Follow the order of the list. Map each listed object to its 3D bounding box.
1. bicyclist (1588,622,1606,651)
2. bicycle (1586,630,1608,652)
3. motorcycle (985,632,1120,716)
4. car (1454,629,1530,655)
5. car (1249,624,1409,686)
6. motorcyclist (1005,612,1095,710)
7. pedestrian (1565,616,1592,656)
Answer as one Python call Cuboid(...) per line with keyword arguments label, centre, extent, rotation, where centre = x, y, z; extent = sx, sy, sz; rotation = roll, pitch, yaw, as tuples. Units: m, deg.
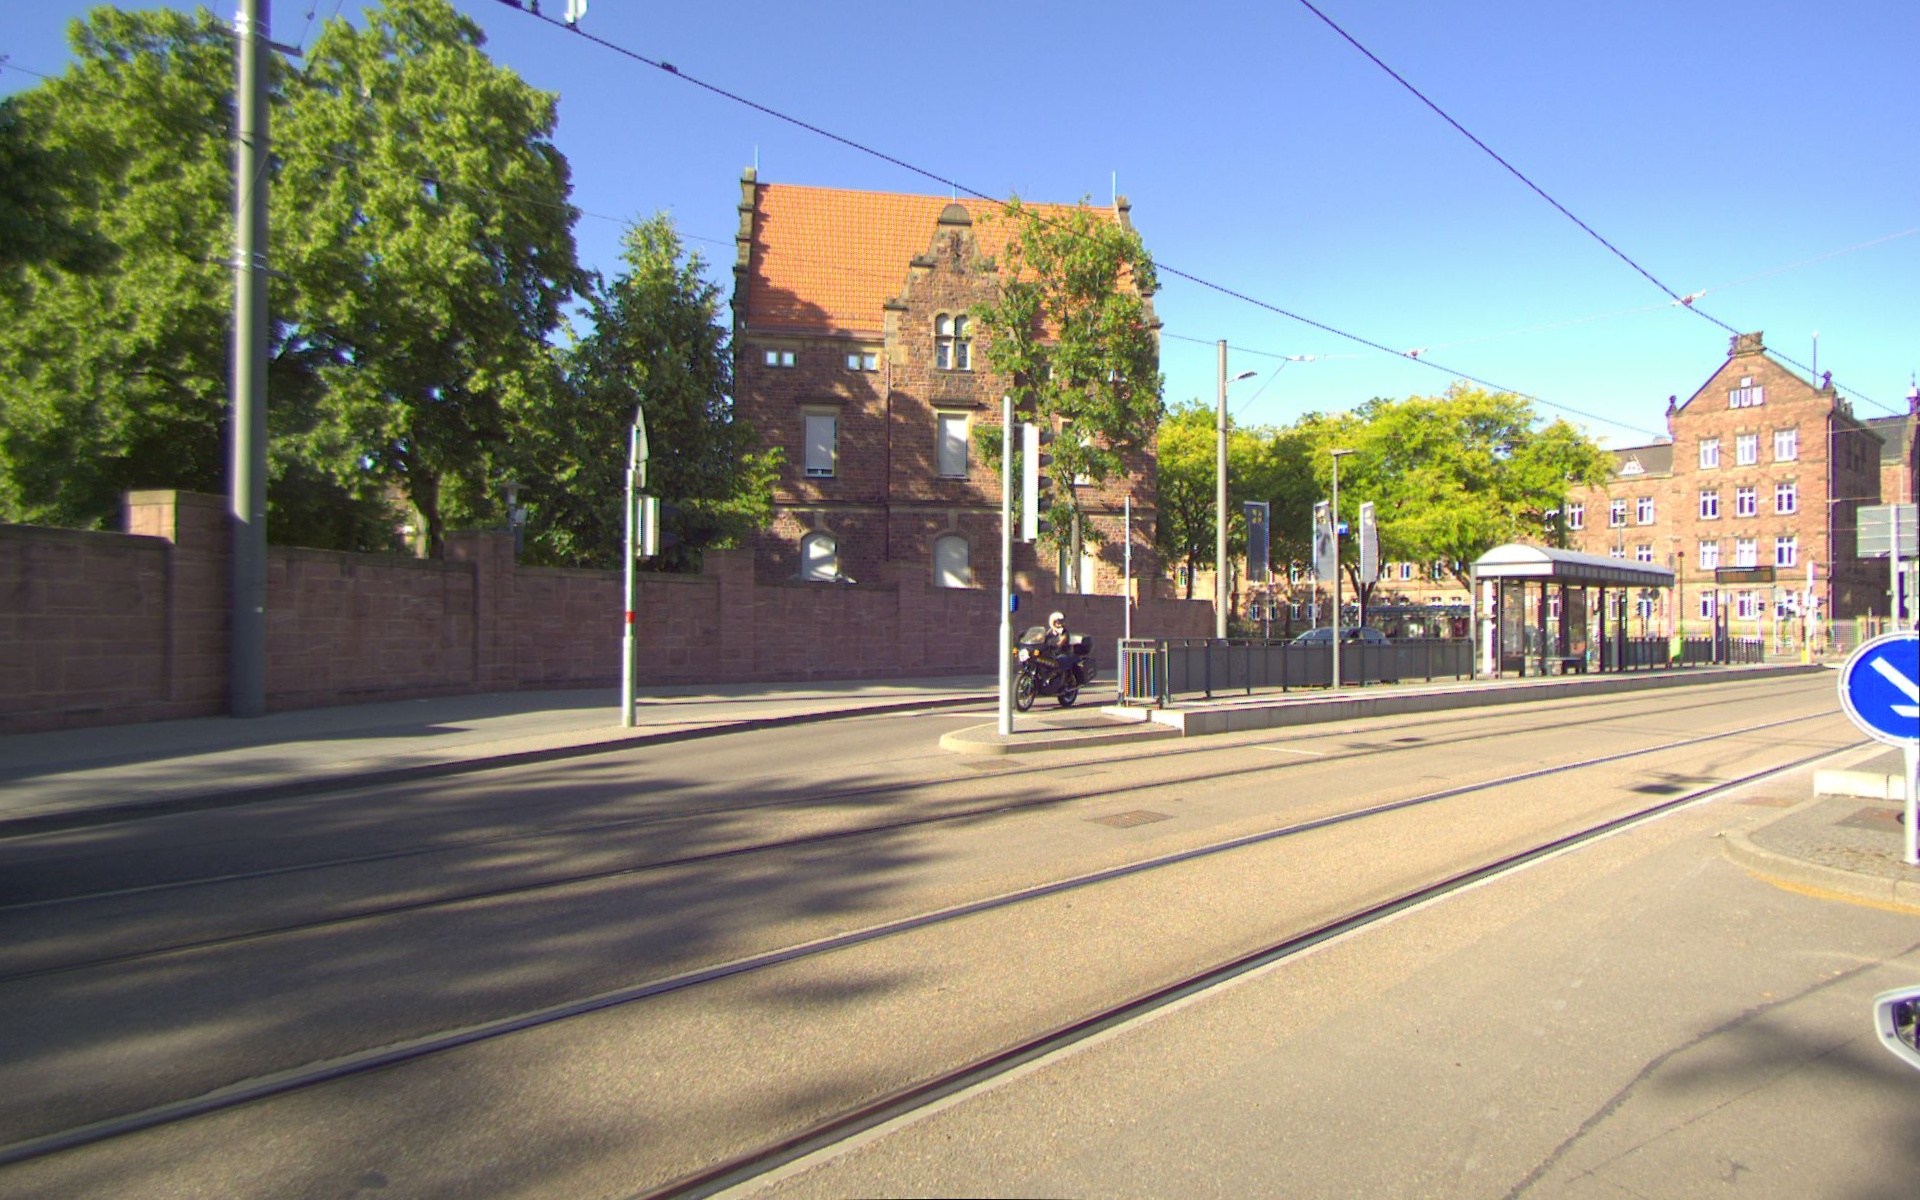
Cuboid(label="bicyclist", centre=(31.169, 1.787, 49.175), extent=(0.678, 1.402, 0.534), rotation=(1, -1, 26))
Cuboid(label="bicycle", centre=(31.108, 1.984, 49.060), extent=(0.680, 1.063, 1.668), rotation=(1, -1, 26))
Cuboid(label="motorcycle", centre=(1.601, 1.189, 16.838), extent=(1.115, 1.260, 2.565), rotation=(1, -1, 35))
Cuboid(label="car", centre=(34.925, 2.736, 66.053), extent=(1.859, 1.542, 4.037), rotation=(2, -1, -36))
Cuboid(label="car", centre=(9.277, 1.397, 25.180), extent=(3.944, 1.421, 1.843), rotation=(2, -5, -36))
Cuboid(label="motorcyclist", centre=(1.499, 0.981, 16.679), extent=(1.109, 1.545, 1.052), rotation=(1, -1, 35))
Cuboid(label="pedestrian", centre=(29.190, 1.689, 47.378), extent=(1.086, 1.885, 0.721), rotation=(2, -1, -36))
